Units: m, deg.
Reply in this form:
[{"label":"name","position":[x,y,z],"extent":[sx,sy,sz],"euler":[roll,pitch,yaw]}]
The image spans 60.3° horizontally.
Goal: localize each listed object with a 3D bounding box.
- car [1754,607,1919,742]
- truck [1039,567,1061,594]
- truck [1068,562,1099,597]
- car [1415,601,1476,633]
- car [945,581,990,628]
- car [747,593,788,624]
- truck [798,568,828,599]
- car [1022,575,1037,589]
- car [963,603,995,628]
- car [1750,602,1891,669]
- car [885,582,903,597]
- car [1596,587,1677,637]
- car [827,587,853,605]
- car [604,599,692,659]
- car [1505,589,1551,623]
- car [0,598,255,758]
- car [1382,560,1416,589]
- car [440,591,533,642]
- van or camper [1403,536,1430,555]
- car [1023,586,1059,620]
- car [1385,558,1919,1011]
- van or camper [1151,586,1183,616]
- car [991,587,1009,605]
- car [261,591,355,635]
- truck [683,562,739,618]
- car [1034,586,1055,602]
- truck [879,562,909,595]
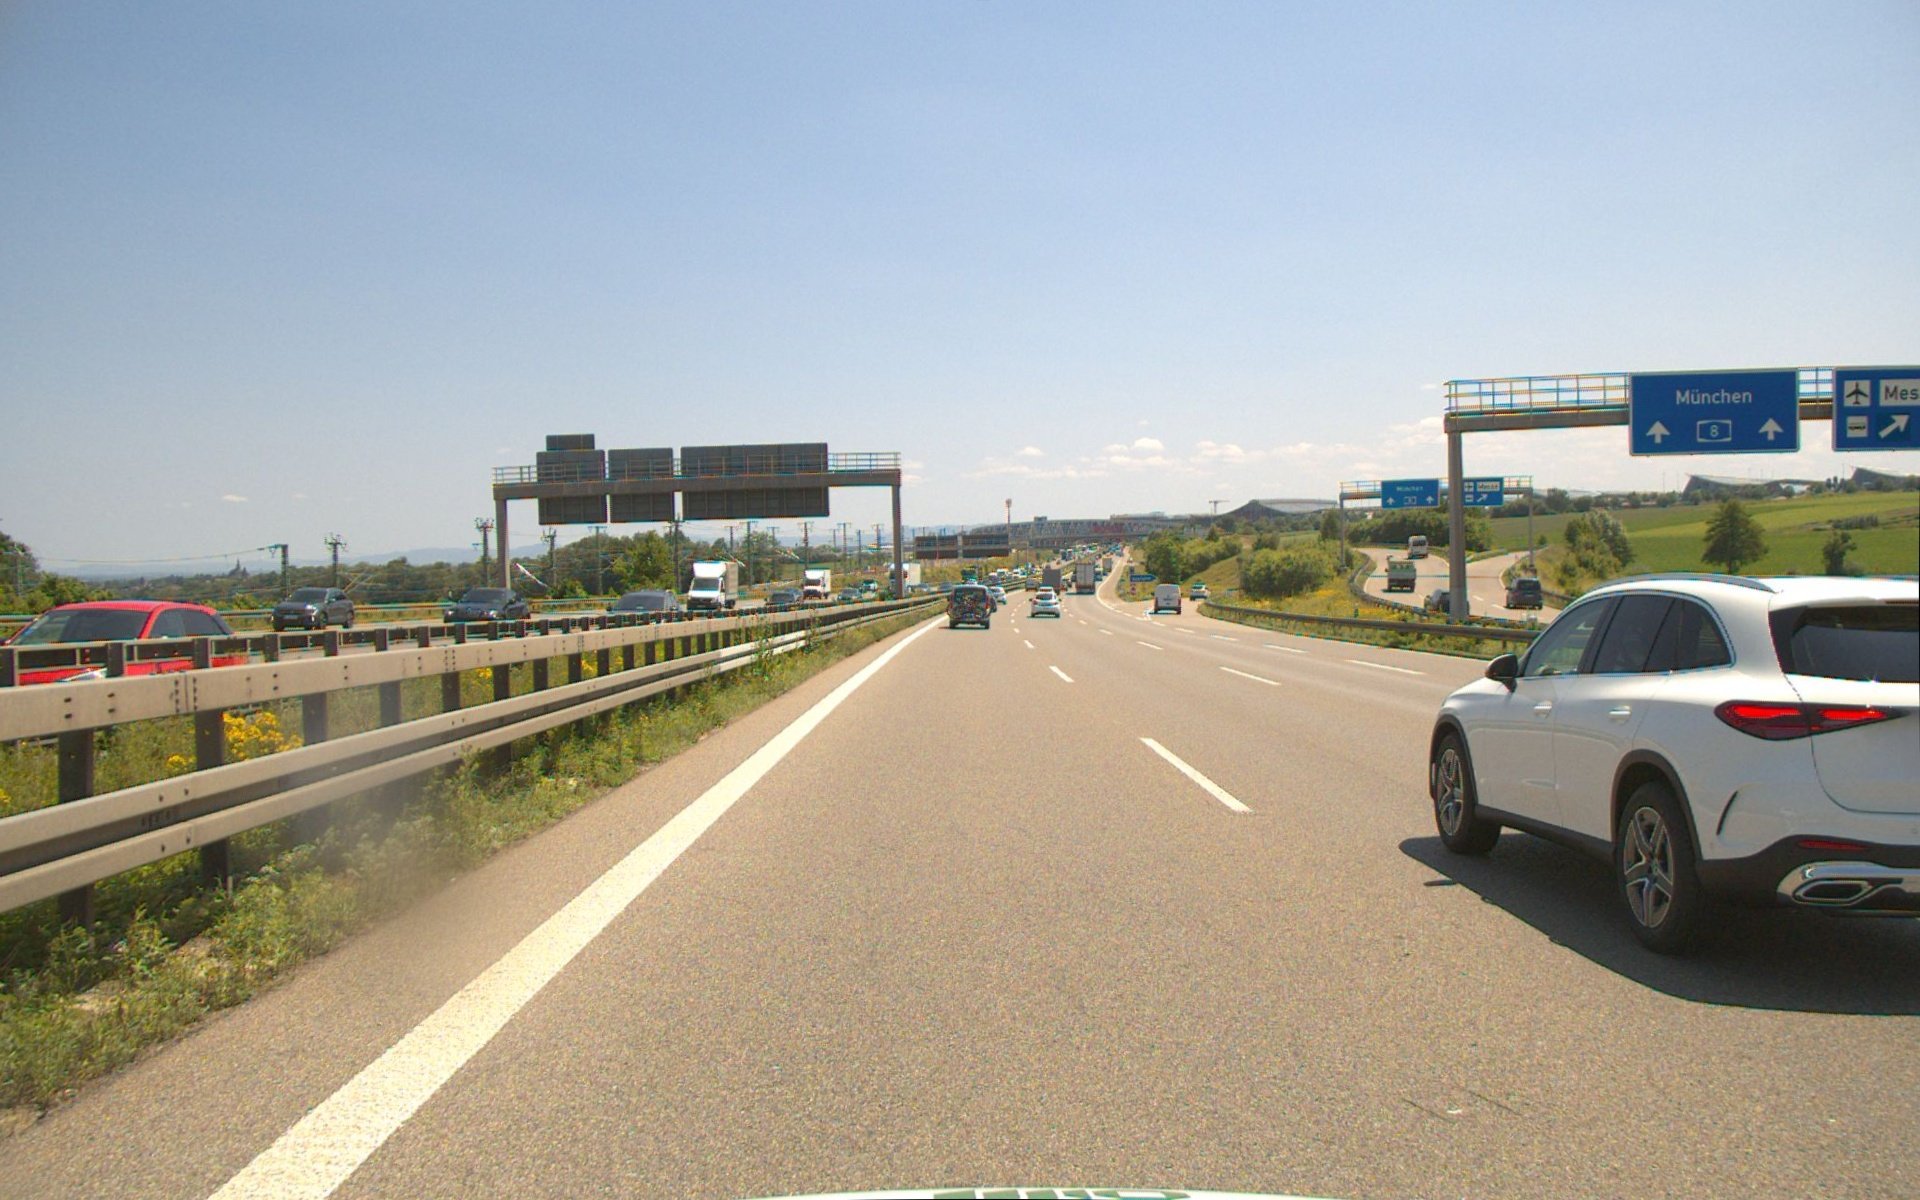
[{"label":"car","position":[11.297,0.816,19.278],"extent":[1.749,1.462,4.846],"euler":[0,0,0]},{"label":"truck","position":[11.504,-2.454,211.505],"extent":[2.645,3.163,10.664],"euler":[0,0,4]},{"label":"truck","position":[16.375,-2.815,219.957],"extent":[3.954,4.336,11.766],"euler":[0,2,4]},{"label":"car","position":[24.710,0.854,84.274],"extent":[1.953,1.624,4.000],"euler":[0,0,0]},{"label":"car","position":[0.291,0.204,71.123],"extent":[1.887,1.952,4.947],"euler":[0,0,0]},{"label":"car","position":[-10.680,0.480,92.068],"extent":[1.712,1.653,4.830],"euler":[0,0,0]},{"label":"truck","position":[-15.629,-1.754,176.336],"extent":[2.272,3.222,8.115],"euler":[0,1,2]},{"label":"car","position":[10.140,-2.636,241.747],"extent":[2.140,2.037,4.002],"euler":[0,2,3]},{"label":"car","position":[1.305,1.063,112.510],"extent":[1.886,1.655,4.520],"euler":[0,0,4]},{"label":"car","position":[21.662,0.866,41.823],"extent":[1.664,1.602,4.130],"euler":[0,0,4]},{"label":"car","position":[-7.574,-1.215,189.805],"extent":[1.706,1.588,4.001],"euler":[0,1,1]},{"label":"car","position":[27.278,0.478,66.811],"extent":[1.898,1.957,4.182],"euler":[0,0,5]},{"label":"car","position":[-10.242,-0.369,141.967],"extent":[1.753,1.490,4.860],"euler":[0,1,1]},{"label":"car","position":[-8.952,0.817,47.737],"extent":[1.640,1.643,4.362],"euler":[0,0,1]},{"label":"car","position":[33.808,0.355,98.529],"extent":[1.897,1.957,4.183],"euler":[0,0,9]},{"label":"car","position":[-9.298,0.711,17.518],"extent":[1.623,1.449,4.775],"euler":[0,0,0]},{"label":"car","position":[32.197,-1.880,121.383],"extent":[1.951,2.049,4.003],"euler":[0,0,8]},{"label":"car","position":[-16.371,0.544,57.419],"extent":[1.809,1.684,4.909],"euler":[0,0,0]},{"label":"van or camper","position":[53.936,-6.451,195.376],"extent":[2.475,2.049,4.464],"euler":[0,0,7]},{"label":"car","position":[4.803,0.203,98.179],"extent":[1.887,1.952,4.517],"euler":[0,0,0]},{"label":"car","position":[3.870,0.695,8.664],"extent":[1.860,1.676,4.996],"euler":[0,0,-2]},{"label":"van or camper","position":[14.261,0.070,114.098],"extent":[2.110,2.049,4.307],"euler":[0,0,6]},{"label":"car","position":[3.578,-0.343,146.731],"extent":[1.543,1.579,3.965],"euler":[0,0,3]},{"label":"car","position":[-24.154,0.471,61.442],"extent":[1.809,1.558,4.223],"euler":[0,0,0]},{"label":"truck","position":[-15.442,-0.565,102.873],"extent":[2.327,3.334,7.660],"euler":[0,0,0]},{"label":"car","position":[8.107,-0.604,158.159],"extent":[1.940,1.499,4.002],"euler":[0,0,4]},{"label":"truck","position":[-8.801,-2.858,221.508],"extent":[3.179,4.283,7.697],"euler":[0,1,4]}]
